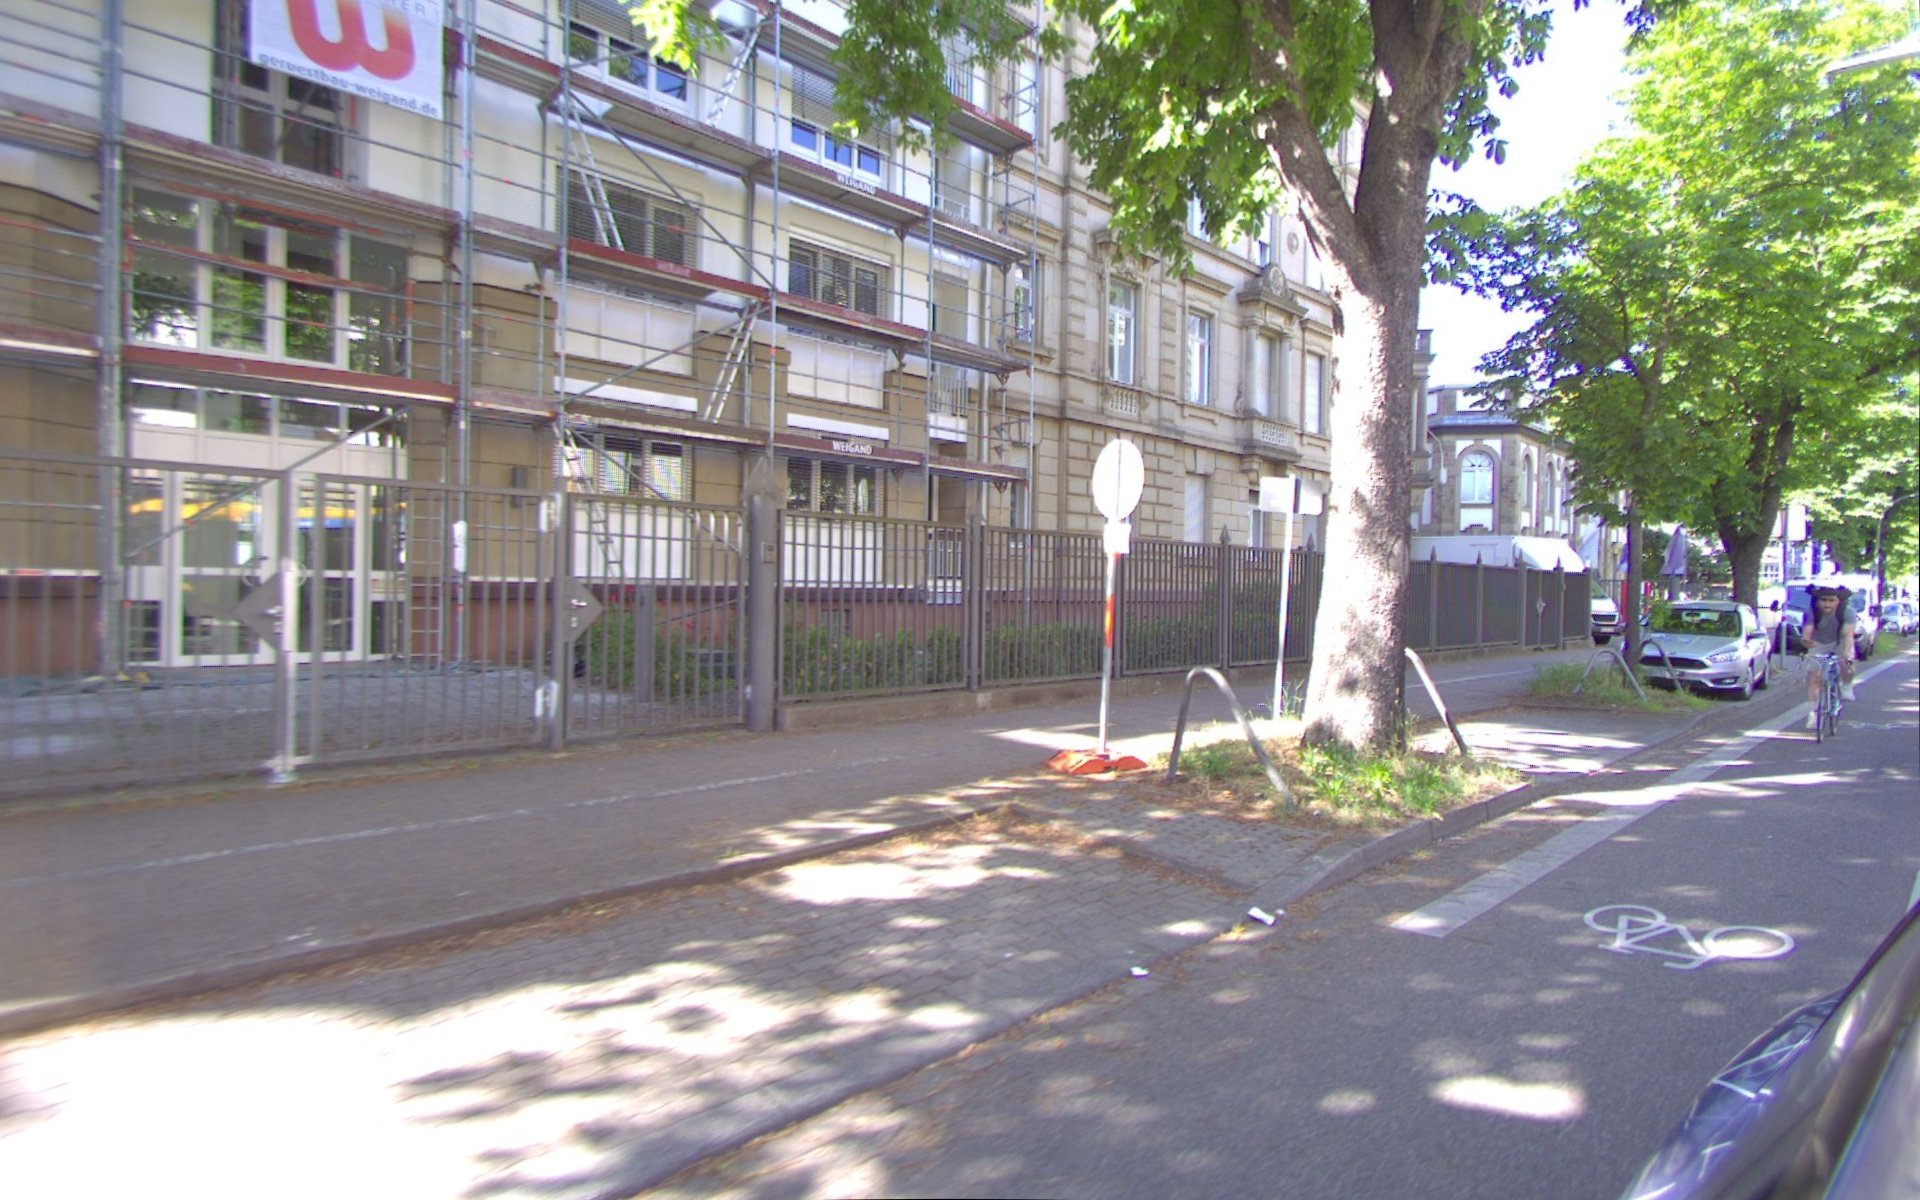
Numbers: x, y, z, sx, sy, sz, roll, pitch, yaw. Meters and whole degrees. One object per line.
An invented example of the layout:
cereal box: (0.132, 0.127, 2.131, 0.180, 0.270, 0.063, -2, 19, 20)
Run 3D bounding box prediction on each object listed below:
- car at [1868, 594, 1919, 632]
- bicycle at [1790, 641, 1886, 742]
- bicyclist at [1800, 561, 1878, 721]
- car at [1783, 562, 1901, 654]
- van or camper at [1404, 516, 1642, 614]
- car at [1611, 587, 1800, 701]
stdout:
car: (41.903, 0.558, 45.147, 1.862, 1.569, 4.036, 1, 1, 45)
bicycle: (9.759, 0.970, 11.226, 2.021, 0.933, 0.534, -1, 0, -41)
bicyclist: (9.750, 0.428, 11.220, 0.863, 1.691, 0.532, 0, 0, -41)
car: (25.691, 0.158, 29.395, 2.128, 2.371, 5.712, 4, 3, 45)
van or camper: (16.937, -0.985, 31.036, 2.078, 2.660, 6.752, 0, 1, -18)
car: (12.488, 0.607, 16.854, 1.873, 1.562, 4.295, 4, 3, 45)
